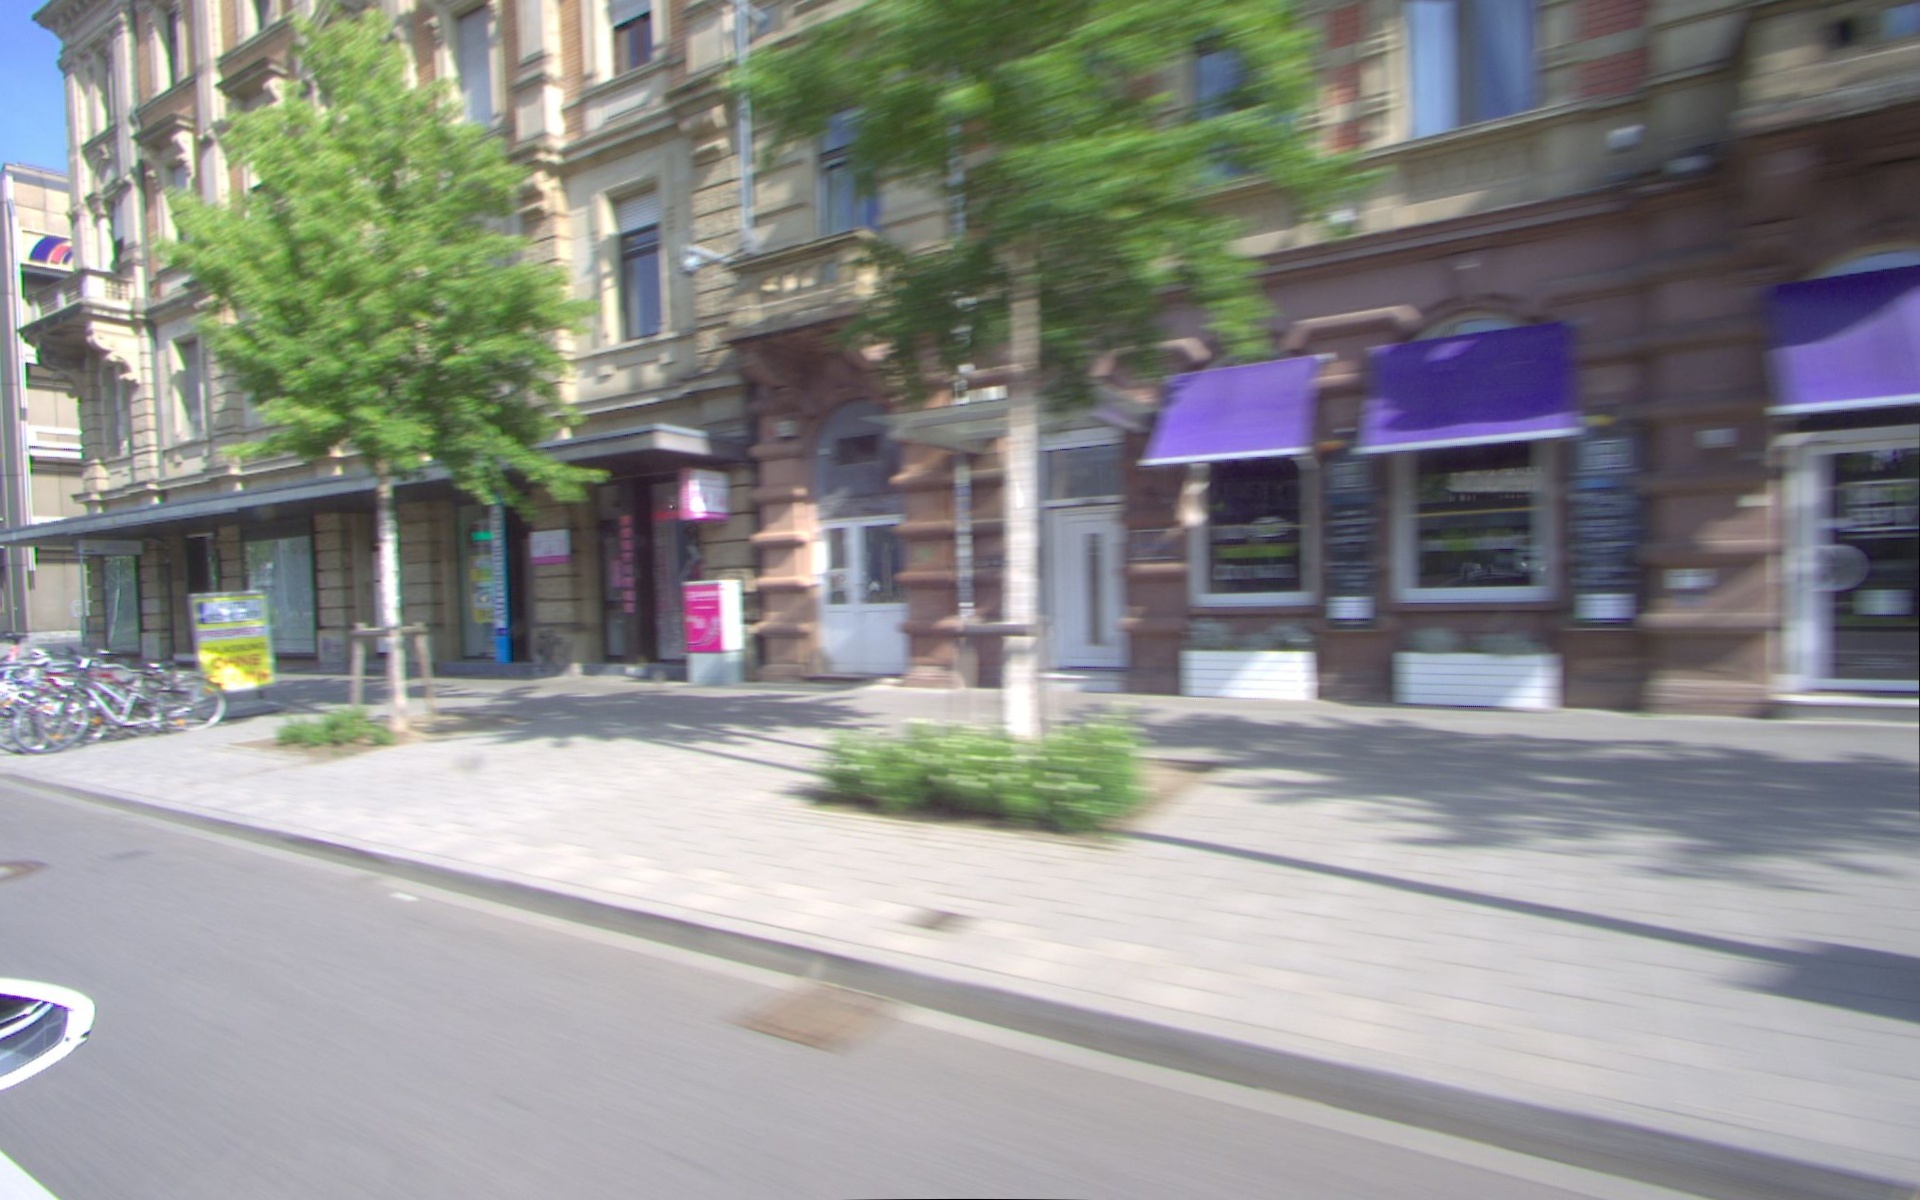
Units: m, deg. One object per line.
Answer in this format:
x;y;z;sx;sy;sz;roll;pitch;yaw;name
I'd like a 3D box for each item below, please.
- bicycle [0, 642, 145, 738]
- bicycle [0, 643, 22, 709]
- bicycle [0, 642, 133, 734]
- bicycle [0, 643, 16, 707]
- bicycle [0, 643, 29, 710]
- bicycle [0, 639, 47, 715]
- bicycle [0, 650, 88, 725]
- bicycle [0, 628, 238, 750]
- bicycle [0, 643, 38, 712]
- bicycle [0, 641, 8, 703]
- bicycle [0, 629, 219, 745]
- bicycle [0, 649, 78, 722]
-11.119;1.081;12.057;0.464;1.000;1.929;-1;3;32;bicycle
-14.980;1.189;14.513;0.423;0.959;1.927;0;3;35;bicycle
-11.509;1.095;12.325;0.464;1.000;1.950;-1;3;32;bicycle
-15.329;1.203;14.779;0.423;0.959;1.927;0;3;35;bicycle
-14.672;1.178;14.292;0.435;0.959;1.927;0;3;35;bicycle
-13.926;1.127;13.764;0.435;1.027;1.927;0;3;35;bicycle
-12.556;1.170;12.880;0.434;0.886;1.929;-1;3;32;bicycle
-9.734;0.967;11.508;0.580;1.119;2.233;-1;3;32;bicycle
-14.286;1.163;14.019;0.435;0.959;1.927;0;3;35;bicycle
-15.699;1.172;15.052;0.423;0.959;1.927;0;3;35;bicycle
-10.189;0.983;11.813;0.511;1.119;2.233;-1;3;32;bicycle
-12.911;1.169;13.138;0.434;0.886;1.929;-1;3;32;bicycle
